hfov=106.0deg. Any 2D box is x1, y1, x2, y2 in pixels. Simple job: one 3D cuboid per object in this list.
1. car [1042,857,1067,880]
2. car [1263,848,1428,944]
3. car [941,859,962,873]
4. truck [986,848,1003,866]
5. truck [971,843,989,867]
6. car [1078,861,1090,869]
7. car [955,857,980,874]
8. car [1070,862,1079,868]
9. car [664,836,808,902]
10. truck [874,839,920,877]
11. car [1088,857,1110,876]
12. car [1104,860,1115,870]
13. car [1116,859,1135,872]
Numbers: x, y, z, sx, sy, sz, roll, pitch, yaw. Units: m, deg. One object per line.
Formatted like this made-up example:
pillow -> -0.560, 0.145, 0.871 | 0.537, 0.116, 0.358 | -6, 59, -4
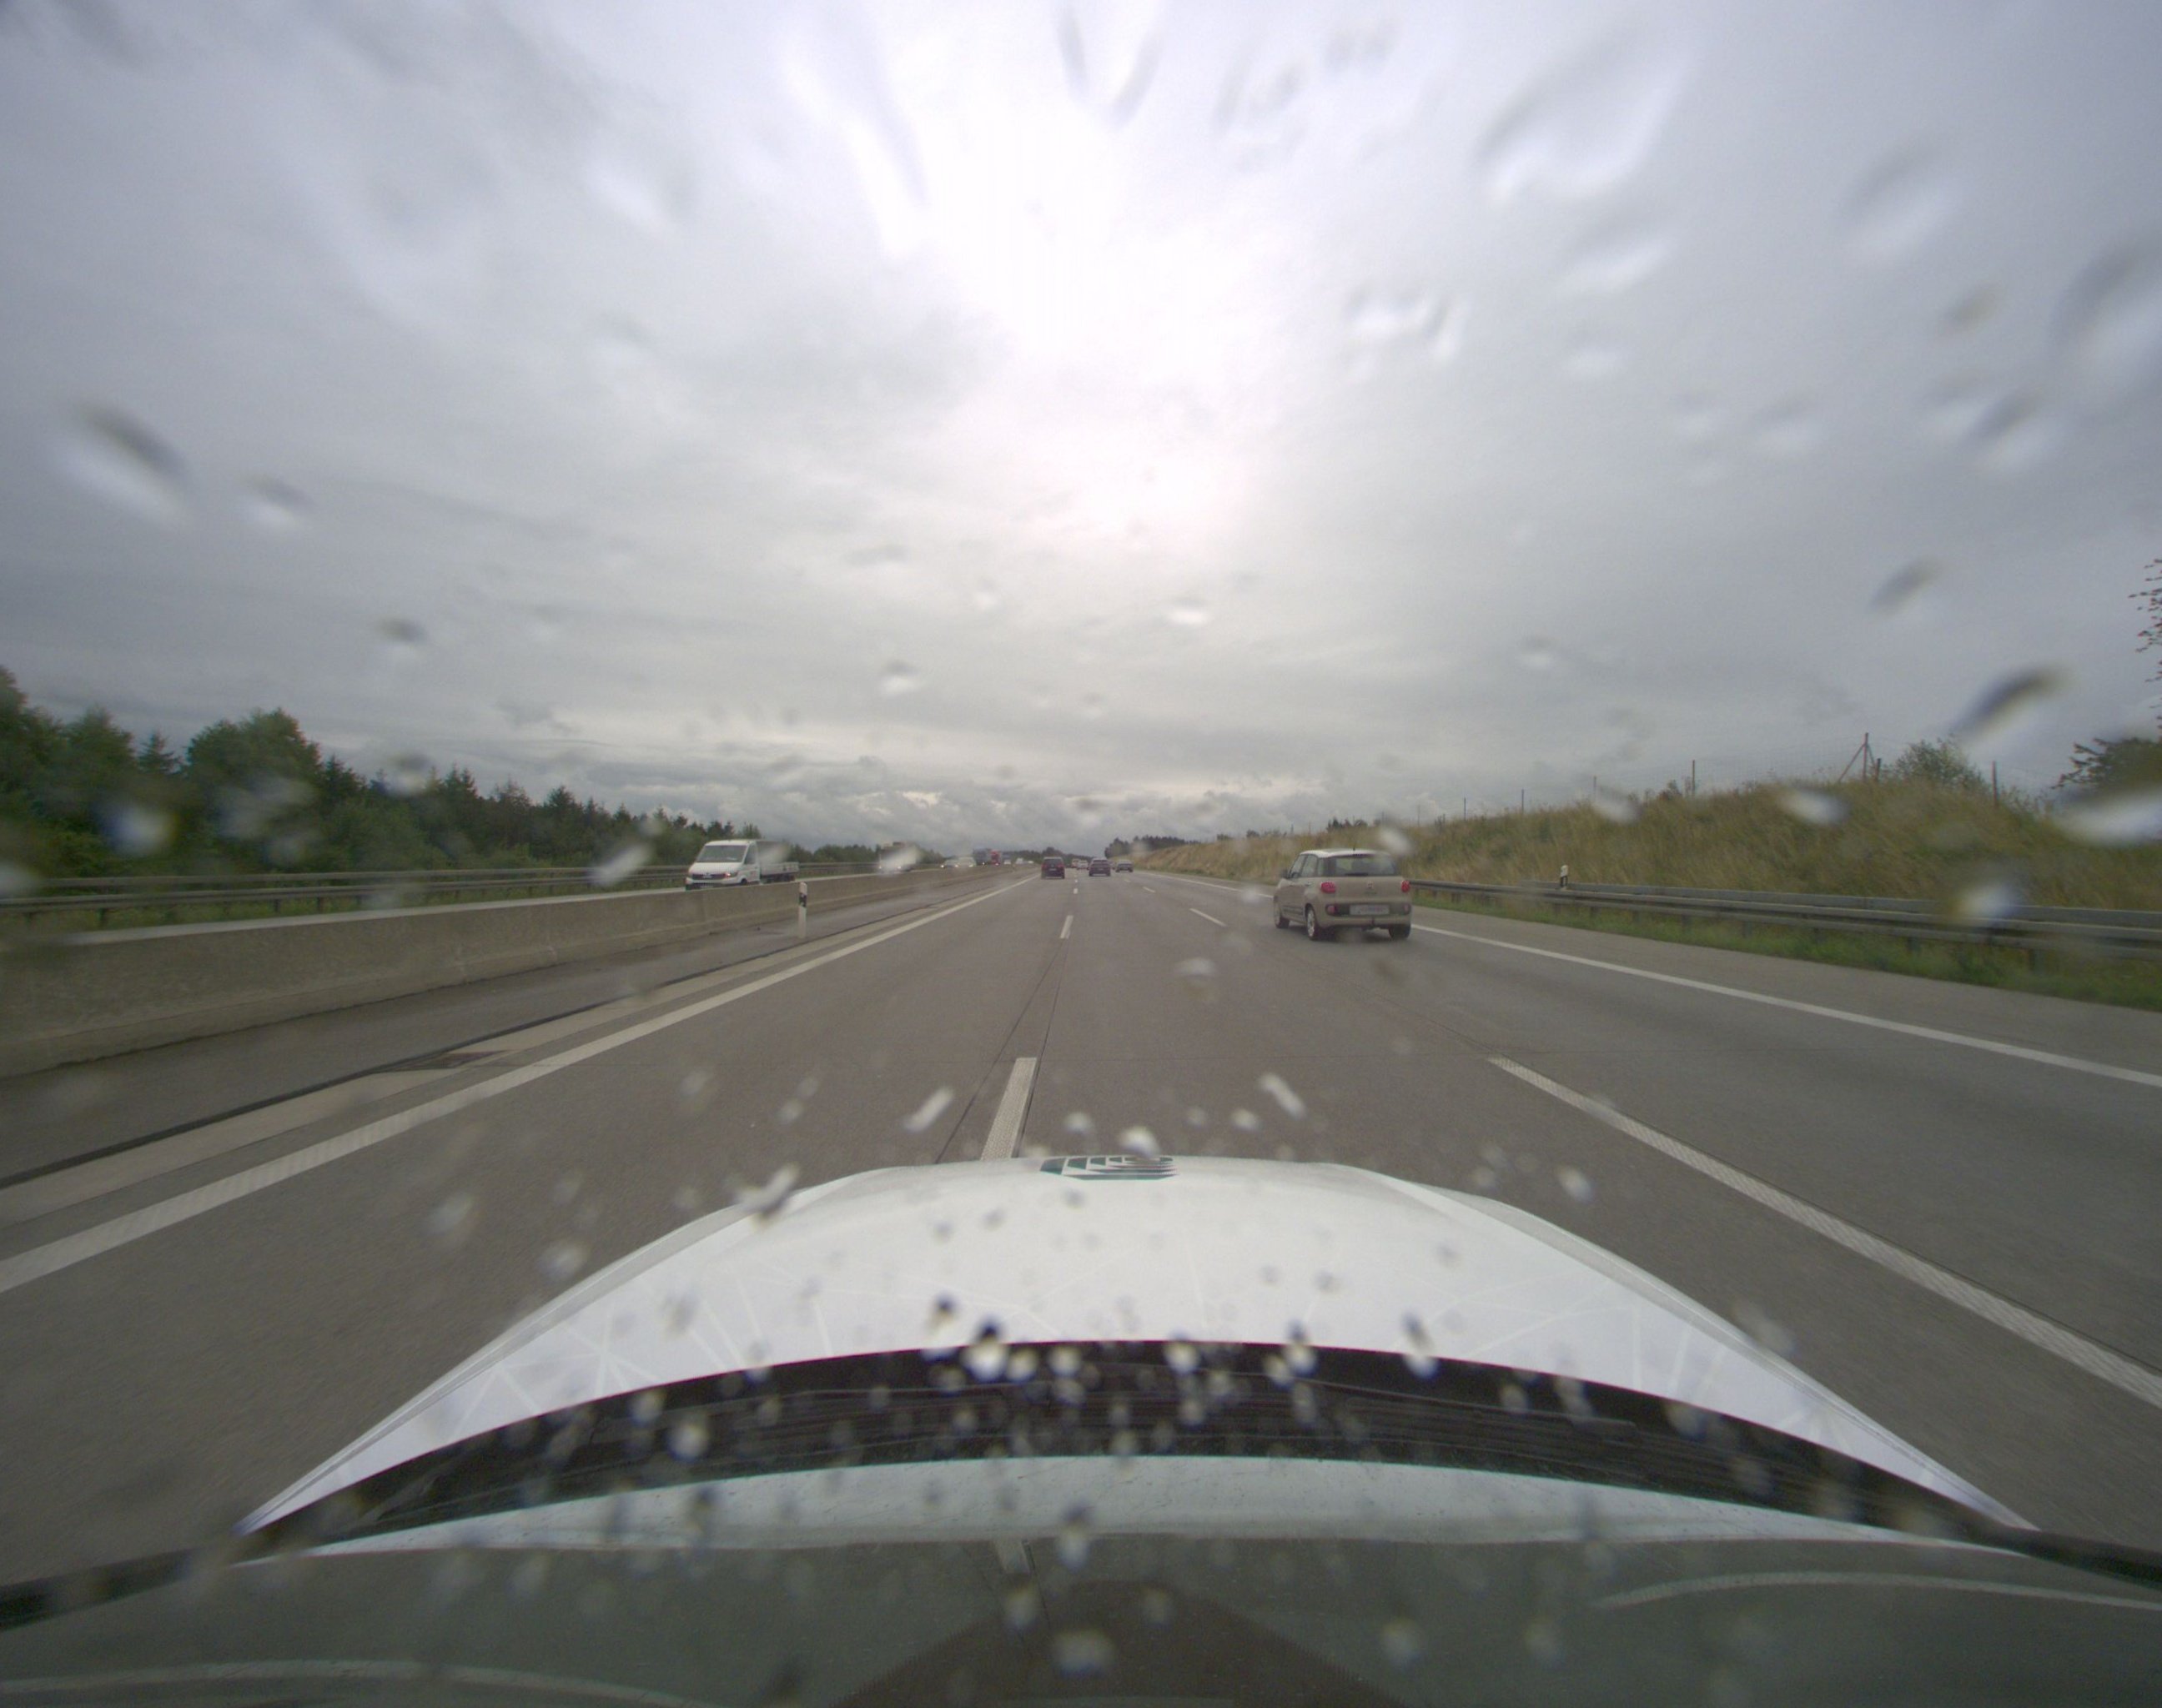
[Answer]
car -> -2.063, 1.125, 64.007 | 1.779, 1.747, 3.914 | 0, 0, 0
car -> 4.973, 0.718, 16.041 | 1.779, 1.605, 4.570 | 0, 0, 0
car -> -14.808, 1.307, 93.352 | 1.624, 1.566, 4.410 | 0, 0, 0
truck -> -21.349, 0.770, 200.801 | 3.460, 4.182, 6.490 | 0, 0, -1
truck -> -20.044, 0.254, 161.668 | 2.919, 4.676, 5.229 | 0, 0, -1
car -> 0.454, 1.703, 126.251 | 1.791, 1.123, 4.002 | 0, 0, 2
car -> -10.932, 1.063, 78.539 | 1.736, 1.566, 4.499 | 0, 0, 0
car -> -1.432, 2.306, 175.519 | 1.791, 1.221, 4.002 | 0, 0, 2
car -> -13.995, 0.581, 33.814 | 2.611, 2.400, 7.518 | 0, 0, 1
truck -> -19.405, 0.408, 86.668 | 2.890, 3.864, 8.897 | 0, 0, 0
car -> 1.605, 1.114, 73.244 | 1.892, 1.690, 5.265 | 0, 0, 0
car -> 4.433, 1.642, 126.556 | 1.482, 1.471, 3.501 | 2, 0, -2
car -> 5.159, 1.319, 95.299 | 2.008, 1.446, 4.744 | 0, 0, 0
